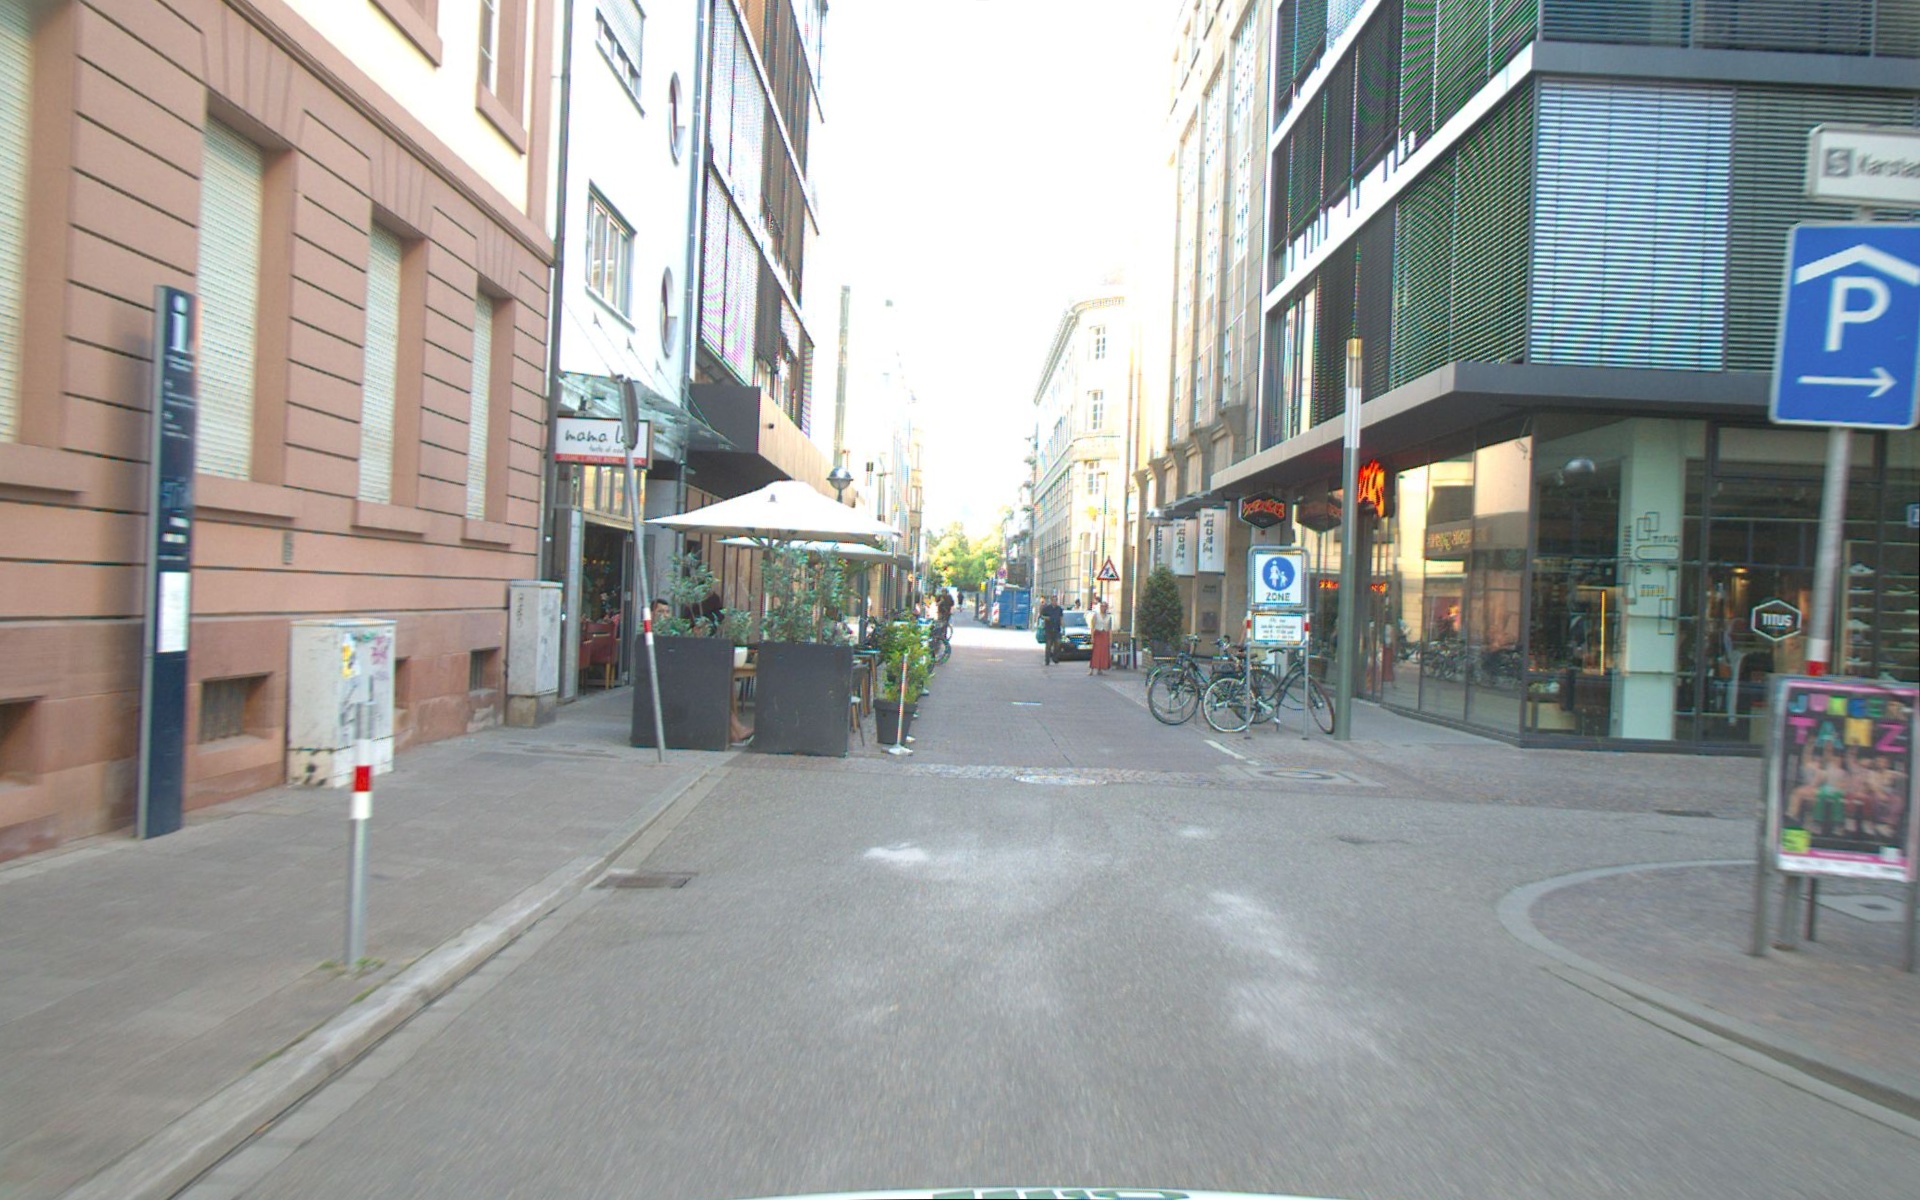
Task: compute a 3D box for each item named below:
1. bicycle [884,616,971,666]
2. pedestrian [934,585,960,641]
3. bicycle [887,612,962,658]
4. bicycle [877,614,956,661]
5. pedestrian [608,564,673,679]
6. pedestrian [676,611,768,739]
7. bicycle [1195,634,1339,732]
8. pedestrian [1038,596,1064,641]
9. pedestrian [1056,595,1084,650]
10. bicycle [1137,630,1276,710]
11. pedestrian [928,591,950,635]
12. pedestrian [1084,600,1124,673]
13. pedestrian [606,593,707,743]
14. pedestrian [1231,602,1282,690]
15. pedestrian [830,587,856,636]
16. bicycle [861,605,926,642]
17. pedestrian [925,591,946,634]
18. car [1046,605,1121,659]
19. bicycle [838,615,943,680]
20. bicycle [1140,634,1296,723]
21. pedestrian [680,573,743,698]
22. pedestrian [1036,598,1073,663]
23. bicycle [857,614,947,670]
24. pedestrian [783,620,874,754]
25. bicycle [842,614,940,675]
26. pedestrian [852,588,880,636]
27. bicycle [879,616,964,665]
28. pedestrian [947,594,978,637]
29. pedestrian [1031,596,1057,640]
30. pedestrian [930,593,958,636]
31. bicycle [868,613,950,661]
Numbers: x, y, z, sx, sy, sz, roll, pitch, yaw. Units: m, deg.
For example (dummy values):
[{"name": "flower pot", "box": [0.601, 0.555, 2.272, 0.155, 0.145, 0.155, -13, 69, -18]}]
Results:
[{"name": "bicycle", "box": [-0.784, 0.967, 39.575, 2.006, 1.034, 0.467, 4, 0, -1]}, {"name": "pedestrian", "box": [-0.457, 0.450, 56.827, 0.816, 1.892, 0.907, 2, 0, -2]}, {"name": "bicycle", "box": [-0.994, 0.972, 46.121, 2.006, 1.114, 0.467, 4, 0, -1]}, {"name": "bicycle", "box": [-1.146, 0.987, 43.580, 2.006, 1.068, 0.467, 4, 0, -1]}, {"name": "pedestrian", "box": [-4.867, 0.322, 25.153, 0.842, 1.688, 0.796, 2, 0, -17]}, {"name": "pedestrian", "box": [-2.374, 0.741, 16.549, 0.774, 1.204, 0.673, 3, -1, -2]}, {"name": "bicycle", "box": [3.727, 1.002, 20.130, 1.663, 1.156, 0.467, 0, 0, -1]}, {"name": "pedestrian", "box": [3.503, 0.711, 63.701, 0.886, 1.690, 0.793, 2, 0, -3]}, {"name": "pedestrian", "box": [3.903, 0.794, 58.665, 0.886, 1.892, 0.835, 2, 0, -2]}, {"name": "bicycle", "box": [3.623, 1.025, 24.369, 1.992, 1.141, 0.467, 0, 0, -1]}, {"name": "pedestrian", "box": [-0.916, 0.564, 72.888, 0.886, 1.892, 0.835, 2, 0, 0]}, {"name": "pedestrian", "box": [3.227, 0.820, 37.213, 0.781, 1.593, 0.859, 2, 0, 0]}, {"name": "pedestrian", "box": [-2.872, 0.632, 15.722, 0.774, 1.354, 0.673, 3, -1, -2]}, {"name": "pedestrian", "box": [5.539, 0.850, 30.930, 0.781, 1.593, 0.859, 2, 0, 2]}, {"name": "pedestrian", "box": [-4.627, 0.460, 65.499, 0.886, 1.892, 0.835, 2, 0, 0]}, {"name": "bicycle", "box": [-2.128, 0.759, 53.100, 2.006, 1.030, 0.467, 4, 0, -1]}, {"name": "pedestrian", "box": [-1.098, 0.562, 73.677, 0.886, 1.892, 0.835, 2, 0, 0]}, {"name": "car", "box": [3.616, 0.912, 48.853, 1.719, 1.466, 3.926, 1, 0, -3]}, {"name": "bicycle", "box": [-1.320, 0.897, 31.485, 1.908, 1.093, 0.467, 4, 0, -1]}, {"name": "bicycle", "box": [3.369, 1.020, 21.666, 1.968, 1.141, 0.467, 0, 0, -1]}, {"name": "pedestrian", "box": [-3.431, 0.486, 22.924, 0.775, 1.677, 0.724, 2, 0, -6]}, {"name": "pedestrian", "box": [2.511, 0.799, 44.002, 0.880, 1.690, 0.930, 2, 0, 1]}, {"name": "bicycle", "box": [-1.280, 0.925, 36.523, 1.908, 1.093, 0.467, 4, 0, -1]}, {"name": "pedestrian", "box": [-1.254, 0.816, 15.745, 0.775, 1.204, 0.673, 3, -1, -6]}, {"name": "bicycle", "box": [-1.400, 0.897, 33.656, 1.908, 1.093, 0.467, 4, 0, -1]}, {"name": "pedestrian", "box": [-3.753, 0.481, 66.073, 1.004, 1.892, 0.906, 2, 0, -1]}, {"name": "bicycle", "box": [-0.939, 0.996, 40.687, 2.006, 1.034, 0.467, 4, 0, -1]}, {"name": "pedestrian", "box": [0.111, 0.633, 69.497, 0.988, 1.764, 0.981, 2, 0, 20]}, {"name": "pedestrian", "box": [3.279, 0.708, 64.439, 0.886, 1.690, 0.793, 2, 0, -3]}, {"name": "pedestrian", "box": [-0.685, 0.616, 69.738, 0.844, 1.764, 0.934, 2, 0, 20]}, {"name": "bicycle", "box": [-1.302, 0.931, 42.267, 2.006, 1.068, 0.467, 4, 0, -1]}]
